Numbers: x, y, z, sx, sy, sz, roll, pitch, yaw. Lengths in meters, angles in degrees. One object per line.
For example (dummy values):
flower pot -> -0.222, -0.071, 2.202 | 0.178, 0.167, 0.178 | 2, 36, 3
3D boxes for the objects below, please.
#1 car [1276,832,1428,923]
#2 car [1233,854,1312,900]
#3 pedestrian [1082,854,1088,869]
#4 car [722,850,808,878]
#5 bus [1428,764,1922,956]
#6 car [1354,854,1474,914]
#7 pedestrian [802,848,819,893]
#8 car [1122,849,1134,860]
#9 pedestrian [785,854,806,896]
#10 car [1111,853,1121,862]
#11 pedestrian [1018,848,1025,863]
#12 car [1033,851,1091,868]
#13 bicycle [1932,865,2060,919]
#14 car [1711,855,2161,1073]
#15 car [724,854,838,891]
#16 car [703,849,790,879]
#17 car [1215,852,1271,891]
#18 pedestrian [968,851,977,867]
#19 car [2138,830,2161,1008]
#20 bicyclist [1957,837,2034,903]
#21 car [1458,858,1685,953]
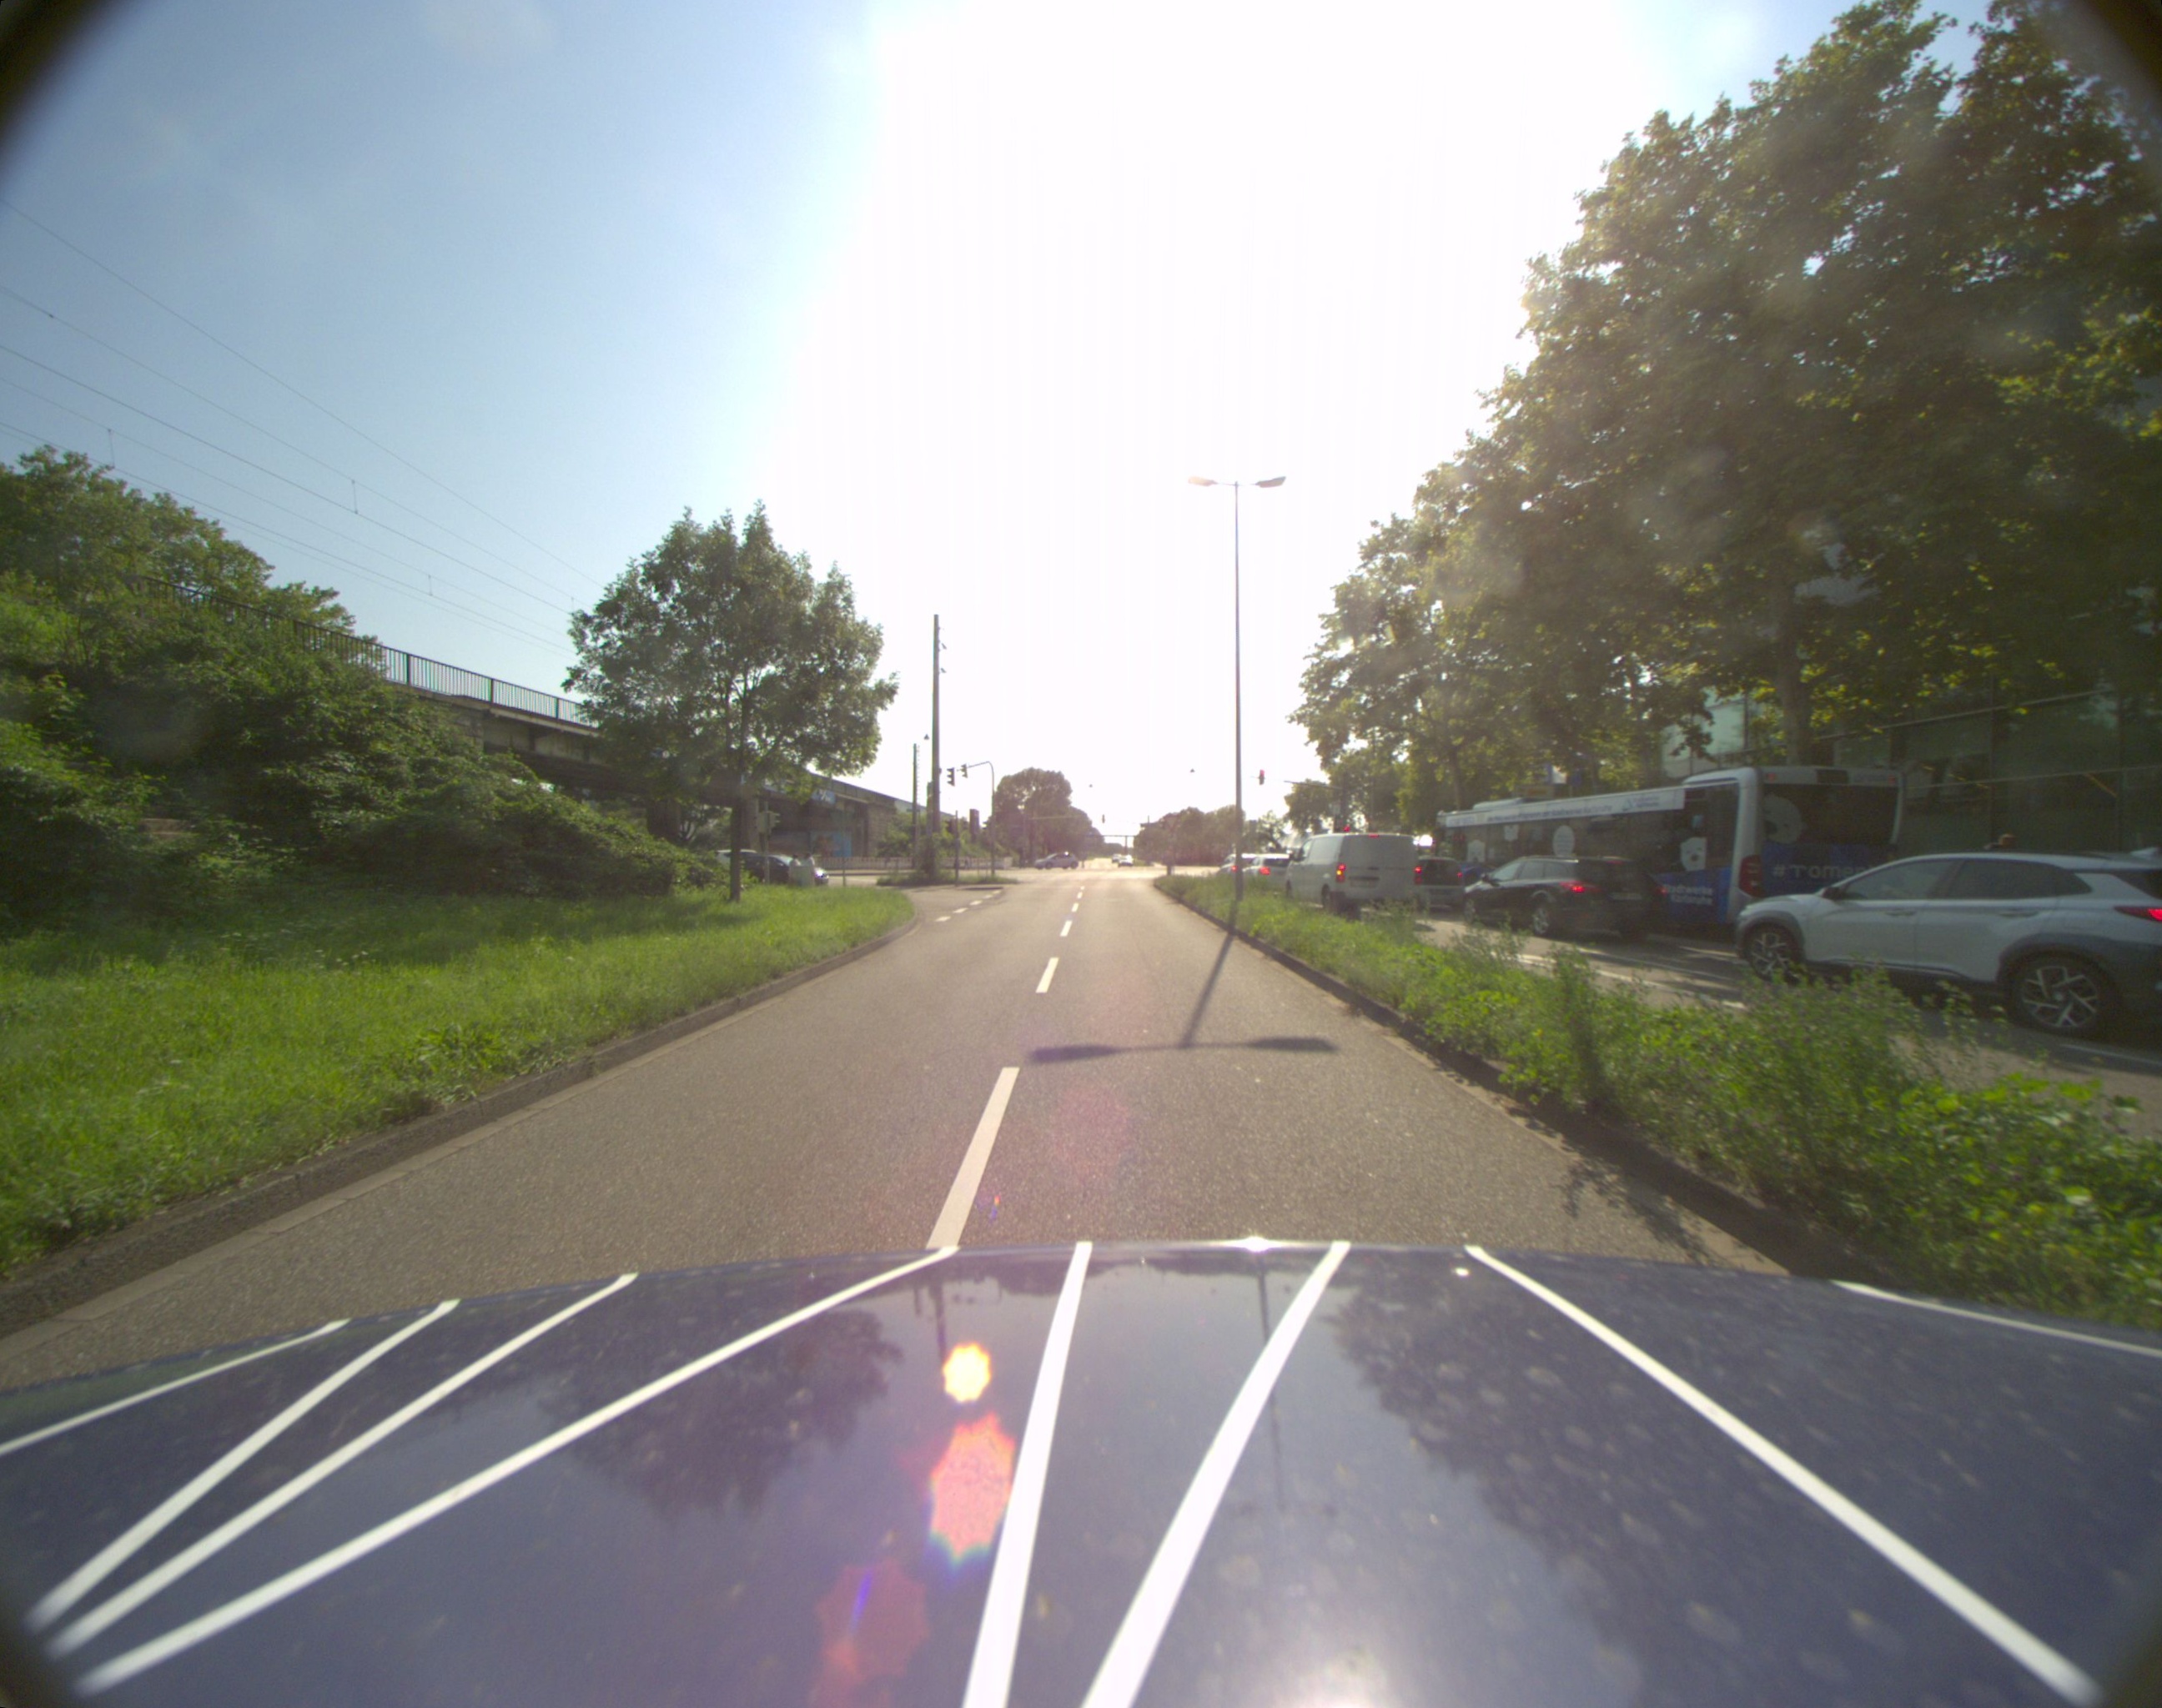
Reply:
car -> 6.257, 0.488, 18.252 | 1.916, 1.853, 4.890 | 1, 0, 1
car -> 6.402, 0.719, 25.816 | 1.713, 1.394, 4.084 | 2, 0, 1
pedestrian -> 0.465, 0.841, 85.807 | 0.587, 1.715, 0.647 | 0, 1, -3
car -> -16.745, 0.497, 40.314 | 4.007, 1.444, 1.613 | 0, 0, -34
bus -> 12.326, 0.034, 18.356 | 2.596, 3.062, 12.311 | -1, 1, 2
car -> 9.213, 0.764, 21.390 | 1.710, 1.458, 3.821 | 2, 1, 1
pedestrian -> -10.163, 0.610, 28.495 | 0.493, 1.672, 0.570 | -1, 1, -29
car -> 5.991, 0.065, 96.751 | 1.544, 1.434, 3.395 | 0, 1, 5
pedestrian -> -10.896, 0.783, 28.996 | 0.573, 1.558, 0.535 | -2, 2, -40
car -> 6.292, 0.575, 136.379 | 1.864, 1.584, 4.001 | 0, 0, 3
pedestrian -> -6.375, 0.198, 81.170 | 0.649, 1.565, 0.759 | 1, 1, 3
car -> -1.757, 0.493, 71.792 | 5.441, 1.438, 1.855 | -1, 1, -36
bicycle -> 20.260, 0.815, 16.894 | 0.649, 1.101, 1.800 | 1, 1, 0
car -> 8.693, 0.823, 7.378 | 1.699, 1.520, 4.140 | 2, 1, 1
car -> -12.832, 0.761, 32.619 | 4.186, 1.524, 1.872 | 0, 1, 12
car -> -18.660, 0.533, 42.435 | 4.224, 1.608, 2.006 | -1, 1, -32
car -> 6.676, 0.678, 31.681 | 1.647, 1.487, 4.000 | 0, 0, 2
pedestrian -> -10.346, 0.457, 72.375 | 0.636, 1.565, 0.489 | -1, 1, -36
car -> 12.237, 0.734, 5.797 | 1.708, 1.877, 4.748 | 2, 1, 2
bicyclist -> 20.277, 0.345, 16.860 | 0.649, 1.431, 0.840 | 1, 1, 0
car -> 8.992, 0.848, 14.418 | 1.651, 1.425, 4.189 | 2, 1, 2
